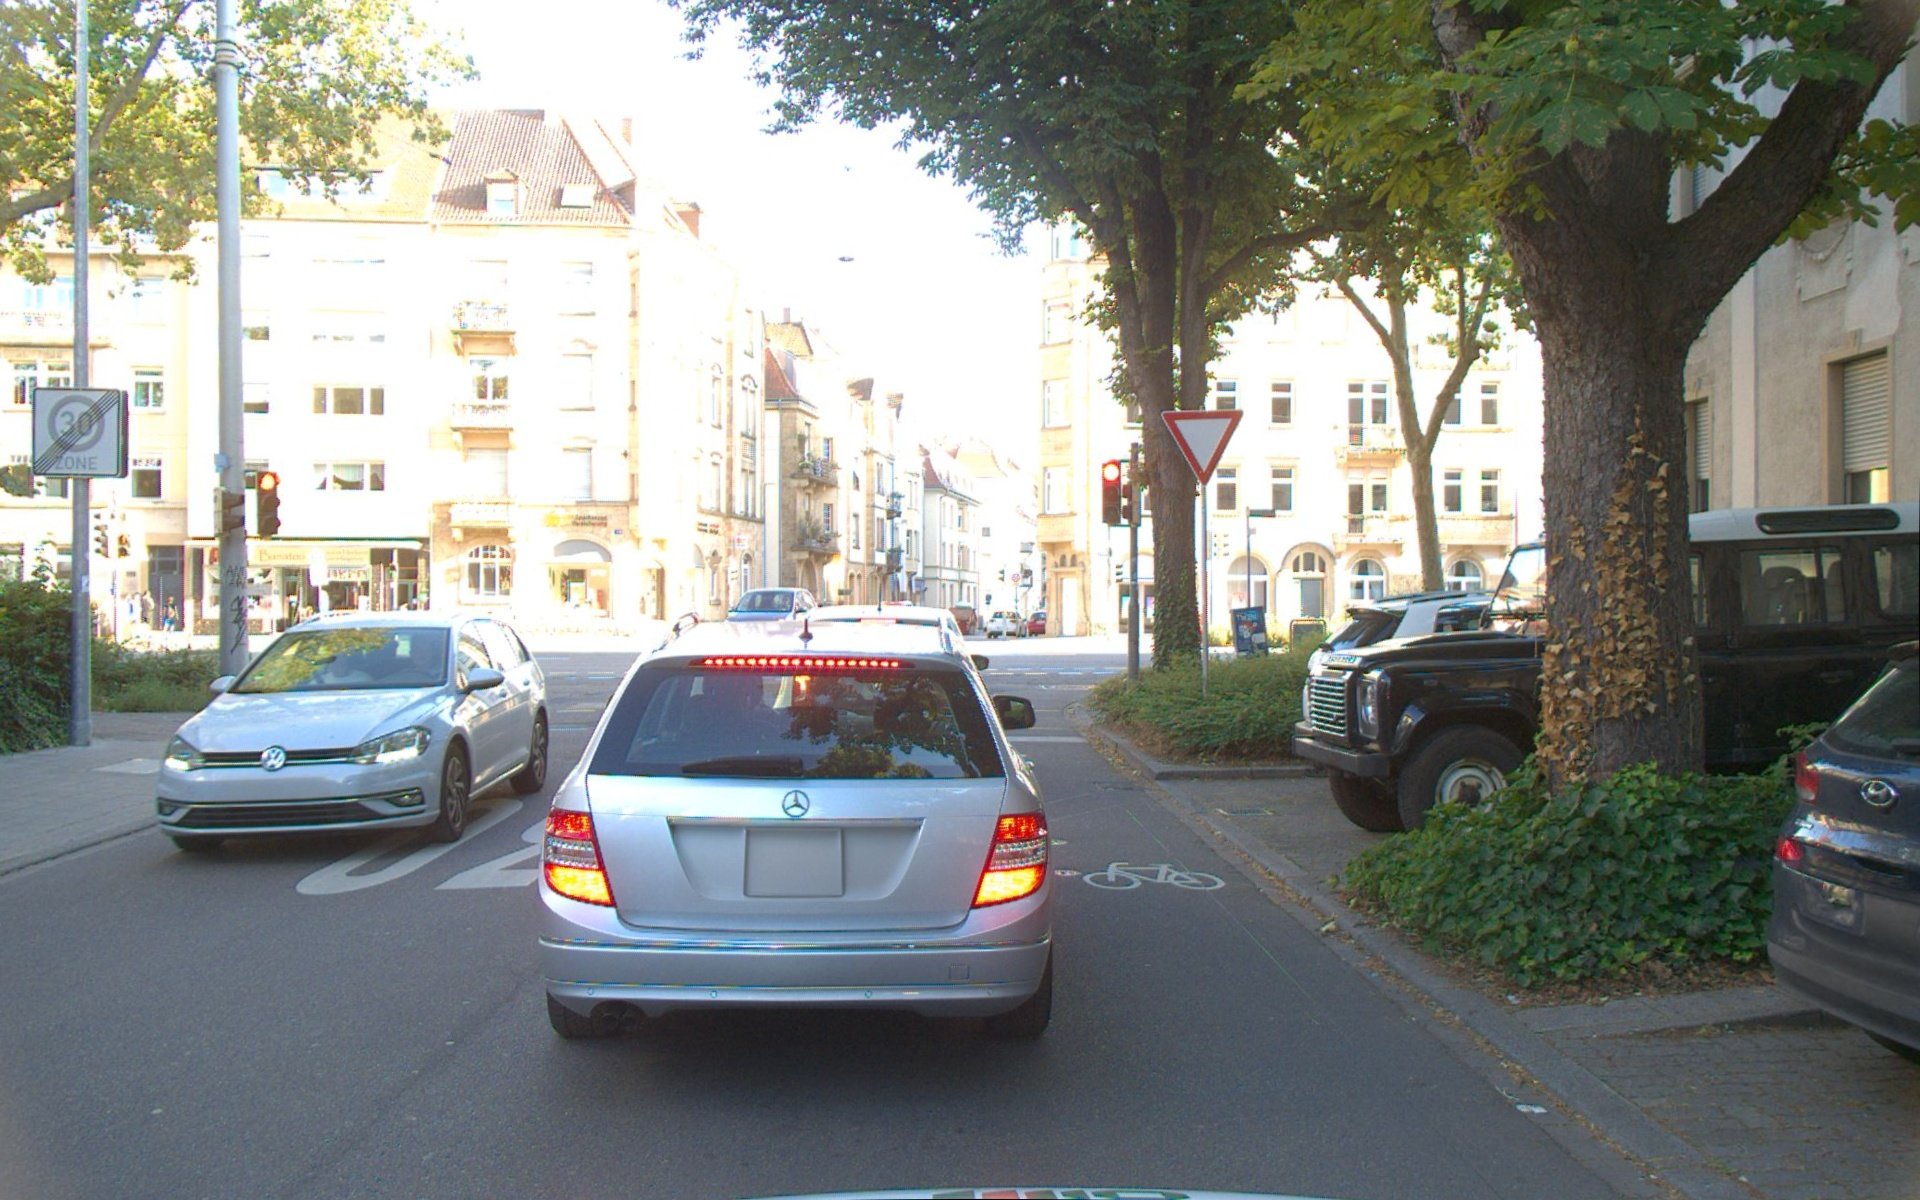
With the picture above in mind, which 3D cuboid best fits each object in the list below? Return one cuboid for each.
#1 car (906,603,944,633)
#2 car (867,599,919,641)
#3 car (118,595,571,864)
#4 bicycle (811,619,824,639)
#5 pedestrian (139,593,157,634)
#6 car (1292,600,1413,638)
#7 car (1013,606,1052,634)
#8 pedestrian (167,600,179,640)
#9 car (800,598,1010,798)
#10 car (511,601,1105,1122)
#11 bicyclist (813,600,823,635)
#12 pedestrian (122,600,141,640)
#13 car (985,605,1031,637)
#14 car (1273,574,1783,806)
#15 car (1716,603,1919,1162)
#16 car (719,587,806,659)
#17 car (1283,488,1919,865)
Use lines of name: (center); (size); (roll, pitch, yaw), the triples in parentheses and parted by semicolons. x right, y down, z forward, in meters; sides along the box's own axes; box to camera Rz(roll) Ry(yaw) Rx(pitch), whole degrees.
car: (-2.124, 1.108, 102.368); (1.615, 1.814, 3.866); (0, -1, 10)
car: (-3.304, 0.959, 81.984); (1.896, 1.993, 4.153); (0, 0, 7)
car: (-4.069, 0.740, 11.744); (1.745, 1.487, 4.297); (-1, 1, -3)
bicycle: (-6.289, 1.262, 73.193); (0.557, 0.849, 1.564); (0, 0, -4)
pedestrian: (-30.631, 0.505, 62.412); (0.557, 1.537, 0.499); (0, 0, -20)
car: (11.797, 0.565, 49.798); (3.296, 1.087, 1.380); (0, 0, -2)
car: (4.476, 1.199, 102.109); (1.684, 1.503, 4.004); (-4, 0, 11)
pedestrian: (-30.296, 0.776, 63.651); (0.424, 1.537, 0.470); (0, 0, -26)
car: (-0.465, 0.706, 13.681); (1.502, 1.415, 3.597); (0, 0, -2)
car: (-0.521, 0.752, 6.449); (1.657, 1.454, 3.490); (1, 0, -3)
bicyclist: (-6.276, 0.766, 73.200); (0.457, 1.547, 0.693); (0, 0, -4)
pedestrian: (-31.859, 0.758, 63.580); (0.532, 1.537, 0.502); (0, 0, -43)
car: (2.518, 1.066, 85.896); (1.684, 1.504, 4.004); (-2, 0, 11)
car: (4.411, 0.654, 13.124); (3.415, 1.614, 1.708); (-1, 0, -7)
car: (4.310, 0.683, 4.572); (3.675, 1.446, 1.627); (-2, -1, -4)
car: (-4.448, 0.481, 37.644); (1.582, 1.527, 3.592); (0, 1, -1)
car: (4.418, 0.396, 10.228); (4.402, 1.990, 1.791); (-2, 0, -4)
